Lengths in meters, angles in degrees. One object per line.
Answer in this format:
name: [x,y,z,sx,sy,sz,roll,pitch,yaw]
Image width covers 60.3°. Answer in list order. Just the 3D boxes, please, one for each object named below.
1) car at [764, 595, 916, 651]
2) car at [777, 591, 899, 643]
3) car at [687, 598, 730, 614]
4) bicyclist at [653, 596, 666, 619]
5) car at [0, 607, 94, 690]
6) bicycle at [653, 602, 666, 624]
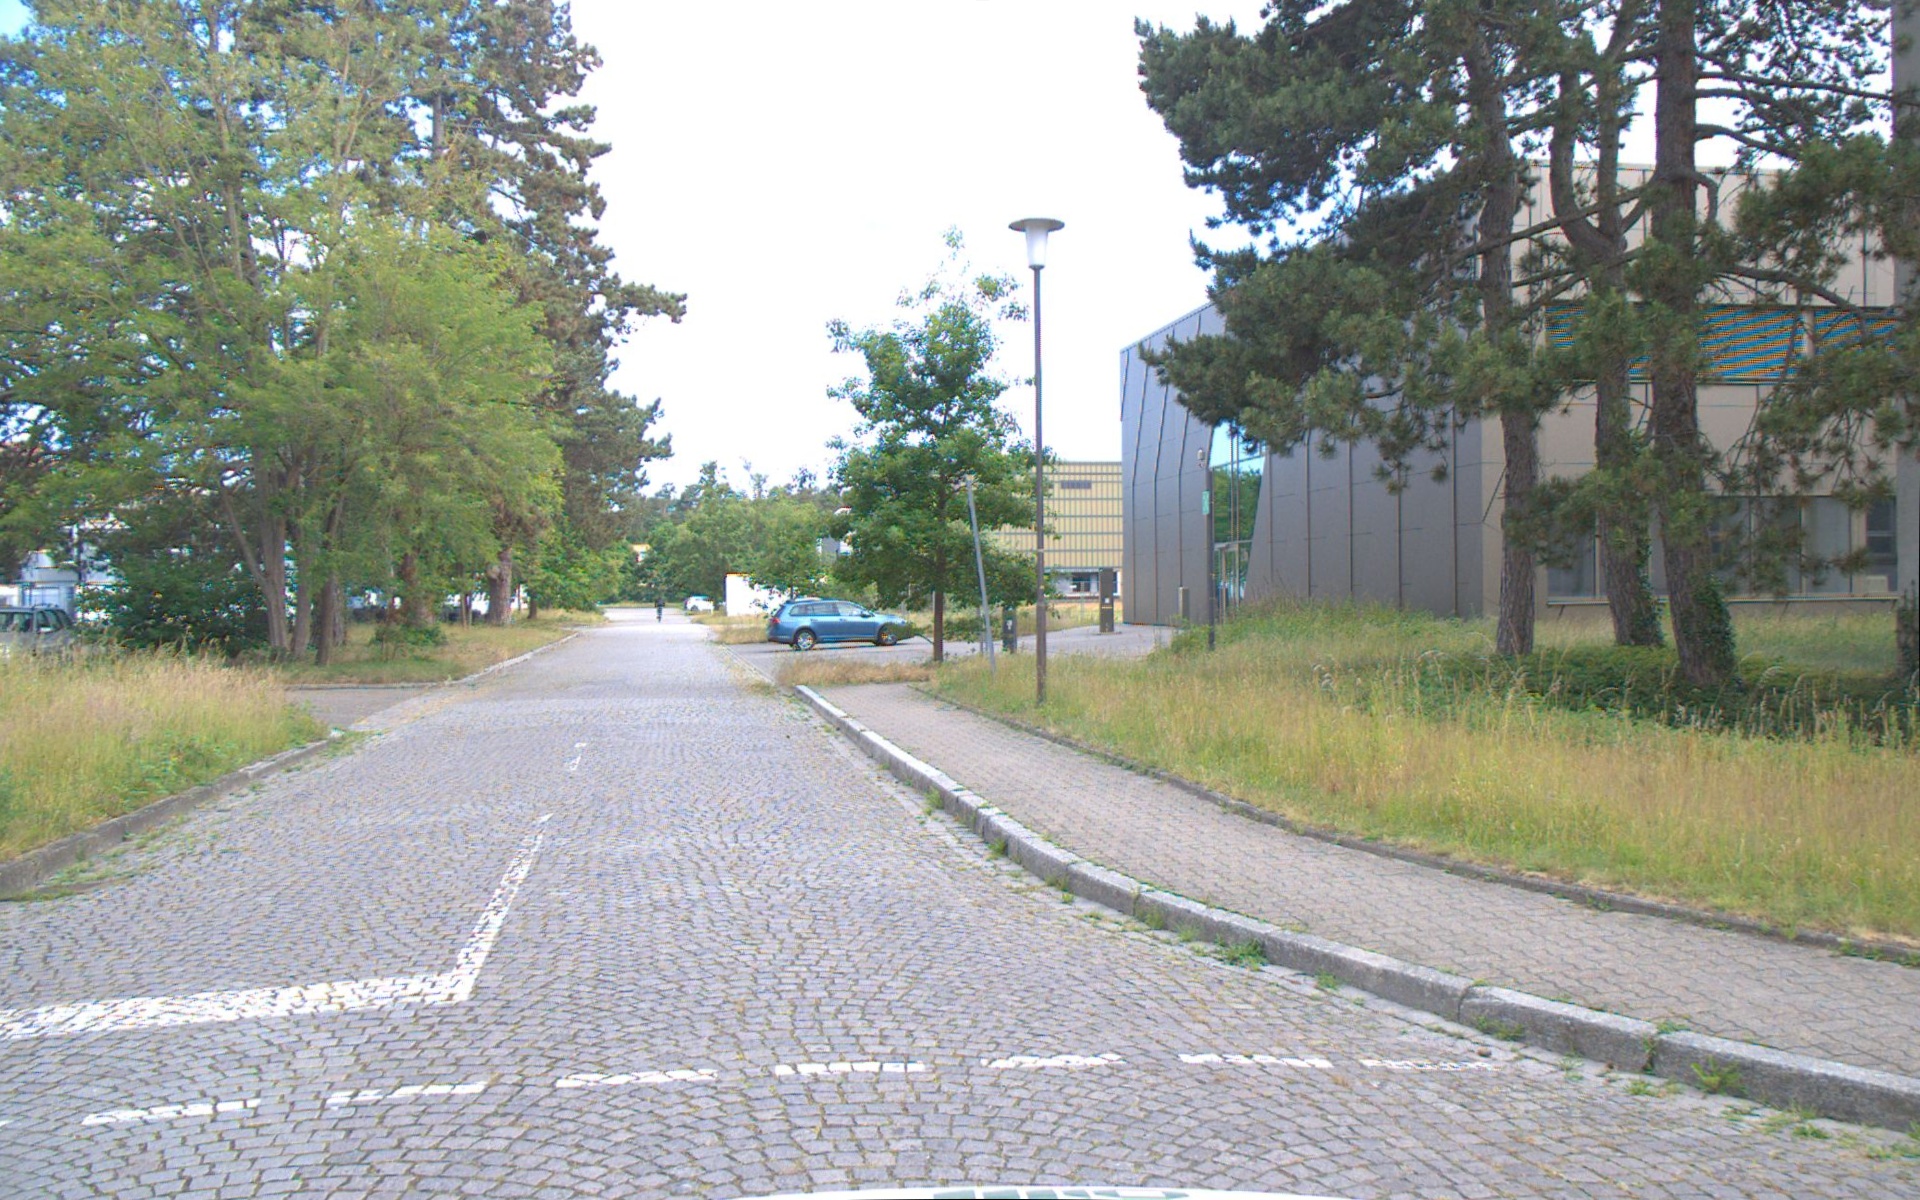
car: [-3.721,0.687,51.039,4.404,1.488,1.928,-3,1,-13]
car: [-4.344,0.593,58.493,4.037,1.599,1.759,-3,0,-13]
car: [-25.631,0.623,168.526,4.243,1.576,1.996,-1,0,-10]
bicyclist: [-20.532,0.513,112.958,0.882,1.569,0.865,0,1,-12]
car: [-18.902,0.923,33.056,1.699,1.457,4.150,-1,1,-11]
bicycle: [-20.523,0.897,112.950,0.809,1.400,2.037,0,1,-11]
